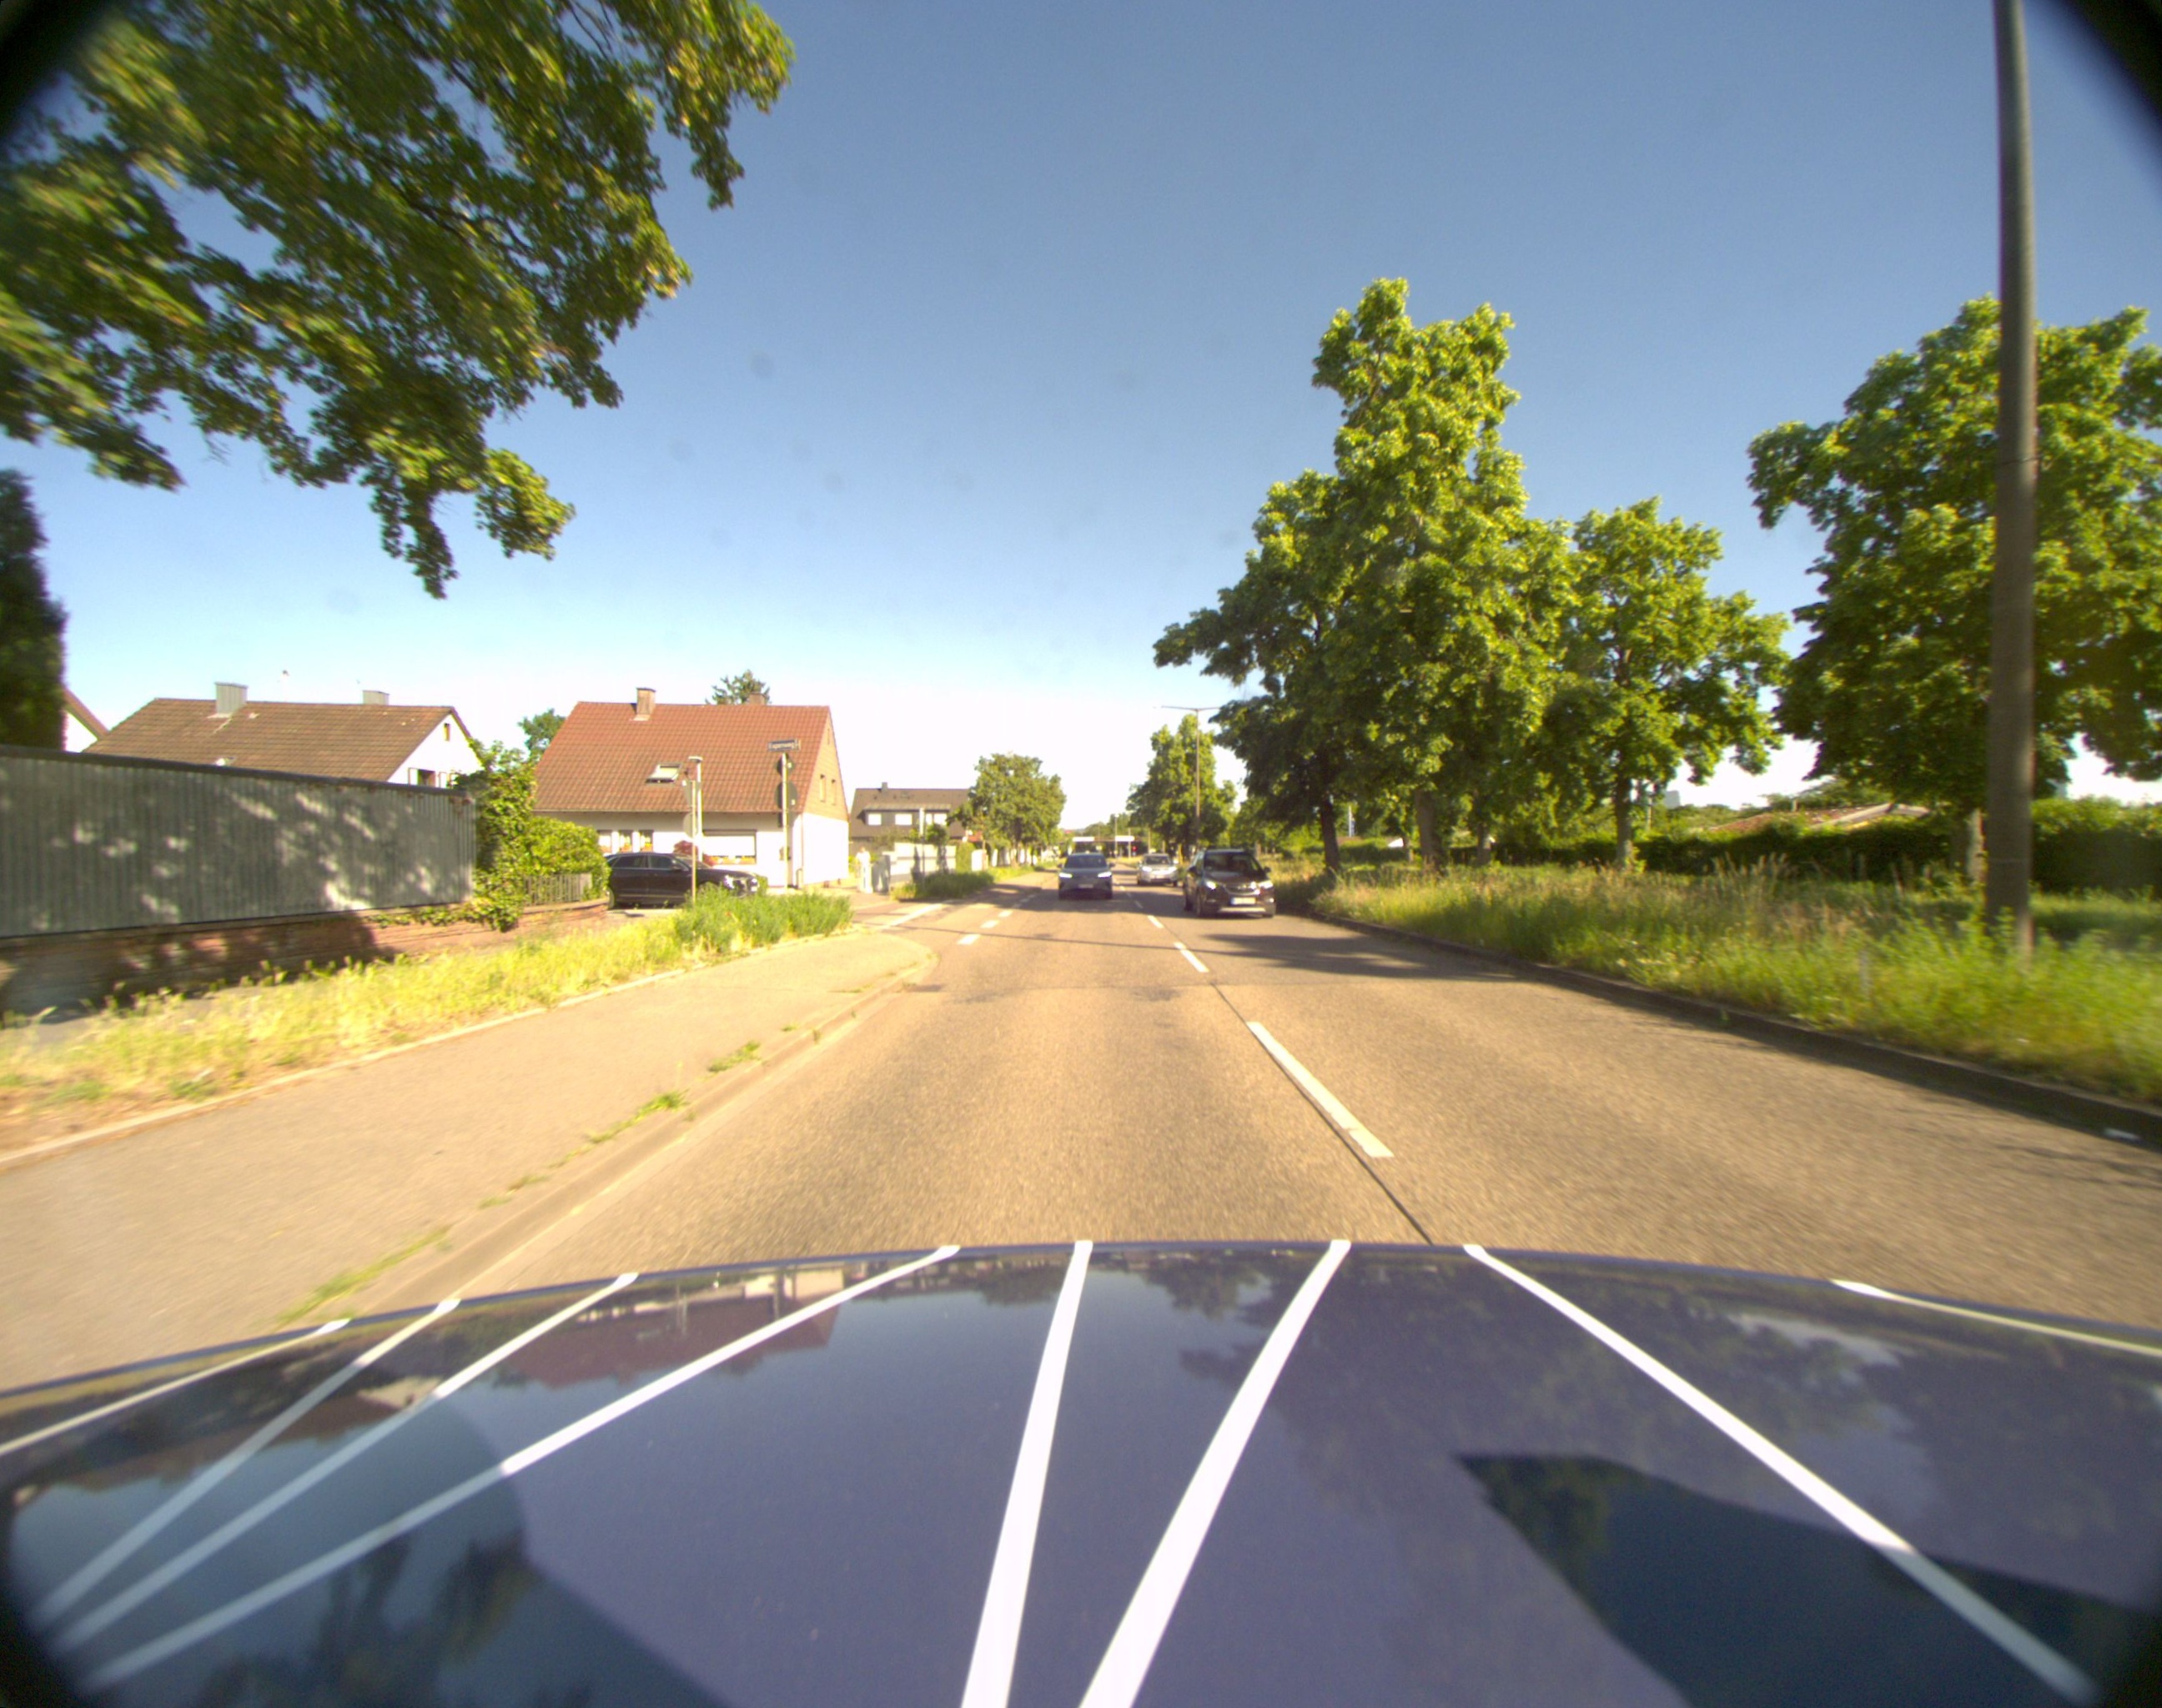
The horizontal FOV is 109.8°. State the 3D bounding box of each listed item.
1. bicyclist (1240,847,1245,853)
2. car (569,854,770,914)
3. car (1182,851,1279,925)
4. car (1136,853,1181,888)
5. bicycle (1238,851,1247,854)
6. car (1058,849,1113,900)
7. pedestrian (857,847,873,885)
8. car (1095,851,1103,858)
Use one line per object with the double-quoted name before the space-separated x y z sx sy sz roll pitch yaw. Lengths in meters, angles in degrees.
"bicyclist" 32.882 -0.742 154.611 0.577 1.249 0.583 -2 1 -30
"car" -11.926 0.832 22.322 4.756 1.647 2.070 0 0 -6
"car" 3.593 0.766 18.897 1.713 1.653 3.856 0 0 1
"car" 3.771 0.749 37.561 1.830 1.604 4.092 -1 0 1
"bicycle" 32.931 -0.321 154.632 1.877 0.691 0.565 -1 1 -29
"car" 0.214 0.683 27.389 1.801 1.664 4.239 -1 0 2
"pedestrian" -9.821 0.537 34.604 0.630 1.698 0.613 -1 1 -12
"car" 4.224 0.153 182.879 1.830 1.604 4.092 -1 0 1
